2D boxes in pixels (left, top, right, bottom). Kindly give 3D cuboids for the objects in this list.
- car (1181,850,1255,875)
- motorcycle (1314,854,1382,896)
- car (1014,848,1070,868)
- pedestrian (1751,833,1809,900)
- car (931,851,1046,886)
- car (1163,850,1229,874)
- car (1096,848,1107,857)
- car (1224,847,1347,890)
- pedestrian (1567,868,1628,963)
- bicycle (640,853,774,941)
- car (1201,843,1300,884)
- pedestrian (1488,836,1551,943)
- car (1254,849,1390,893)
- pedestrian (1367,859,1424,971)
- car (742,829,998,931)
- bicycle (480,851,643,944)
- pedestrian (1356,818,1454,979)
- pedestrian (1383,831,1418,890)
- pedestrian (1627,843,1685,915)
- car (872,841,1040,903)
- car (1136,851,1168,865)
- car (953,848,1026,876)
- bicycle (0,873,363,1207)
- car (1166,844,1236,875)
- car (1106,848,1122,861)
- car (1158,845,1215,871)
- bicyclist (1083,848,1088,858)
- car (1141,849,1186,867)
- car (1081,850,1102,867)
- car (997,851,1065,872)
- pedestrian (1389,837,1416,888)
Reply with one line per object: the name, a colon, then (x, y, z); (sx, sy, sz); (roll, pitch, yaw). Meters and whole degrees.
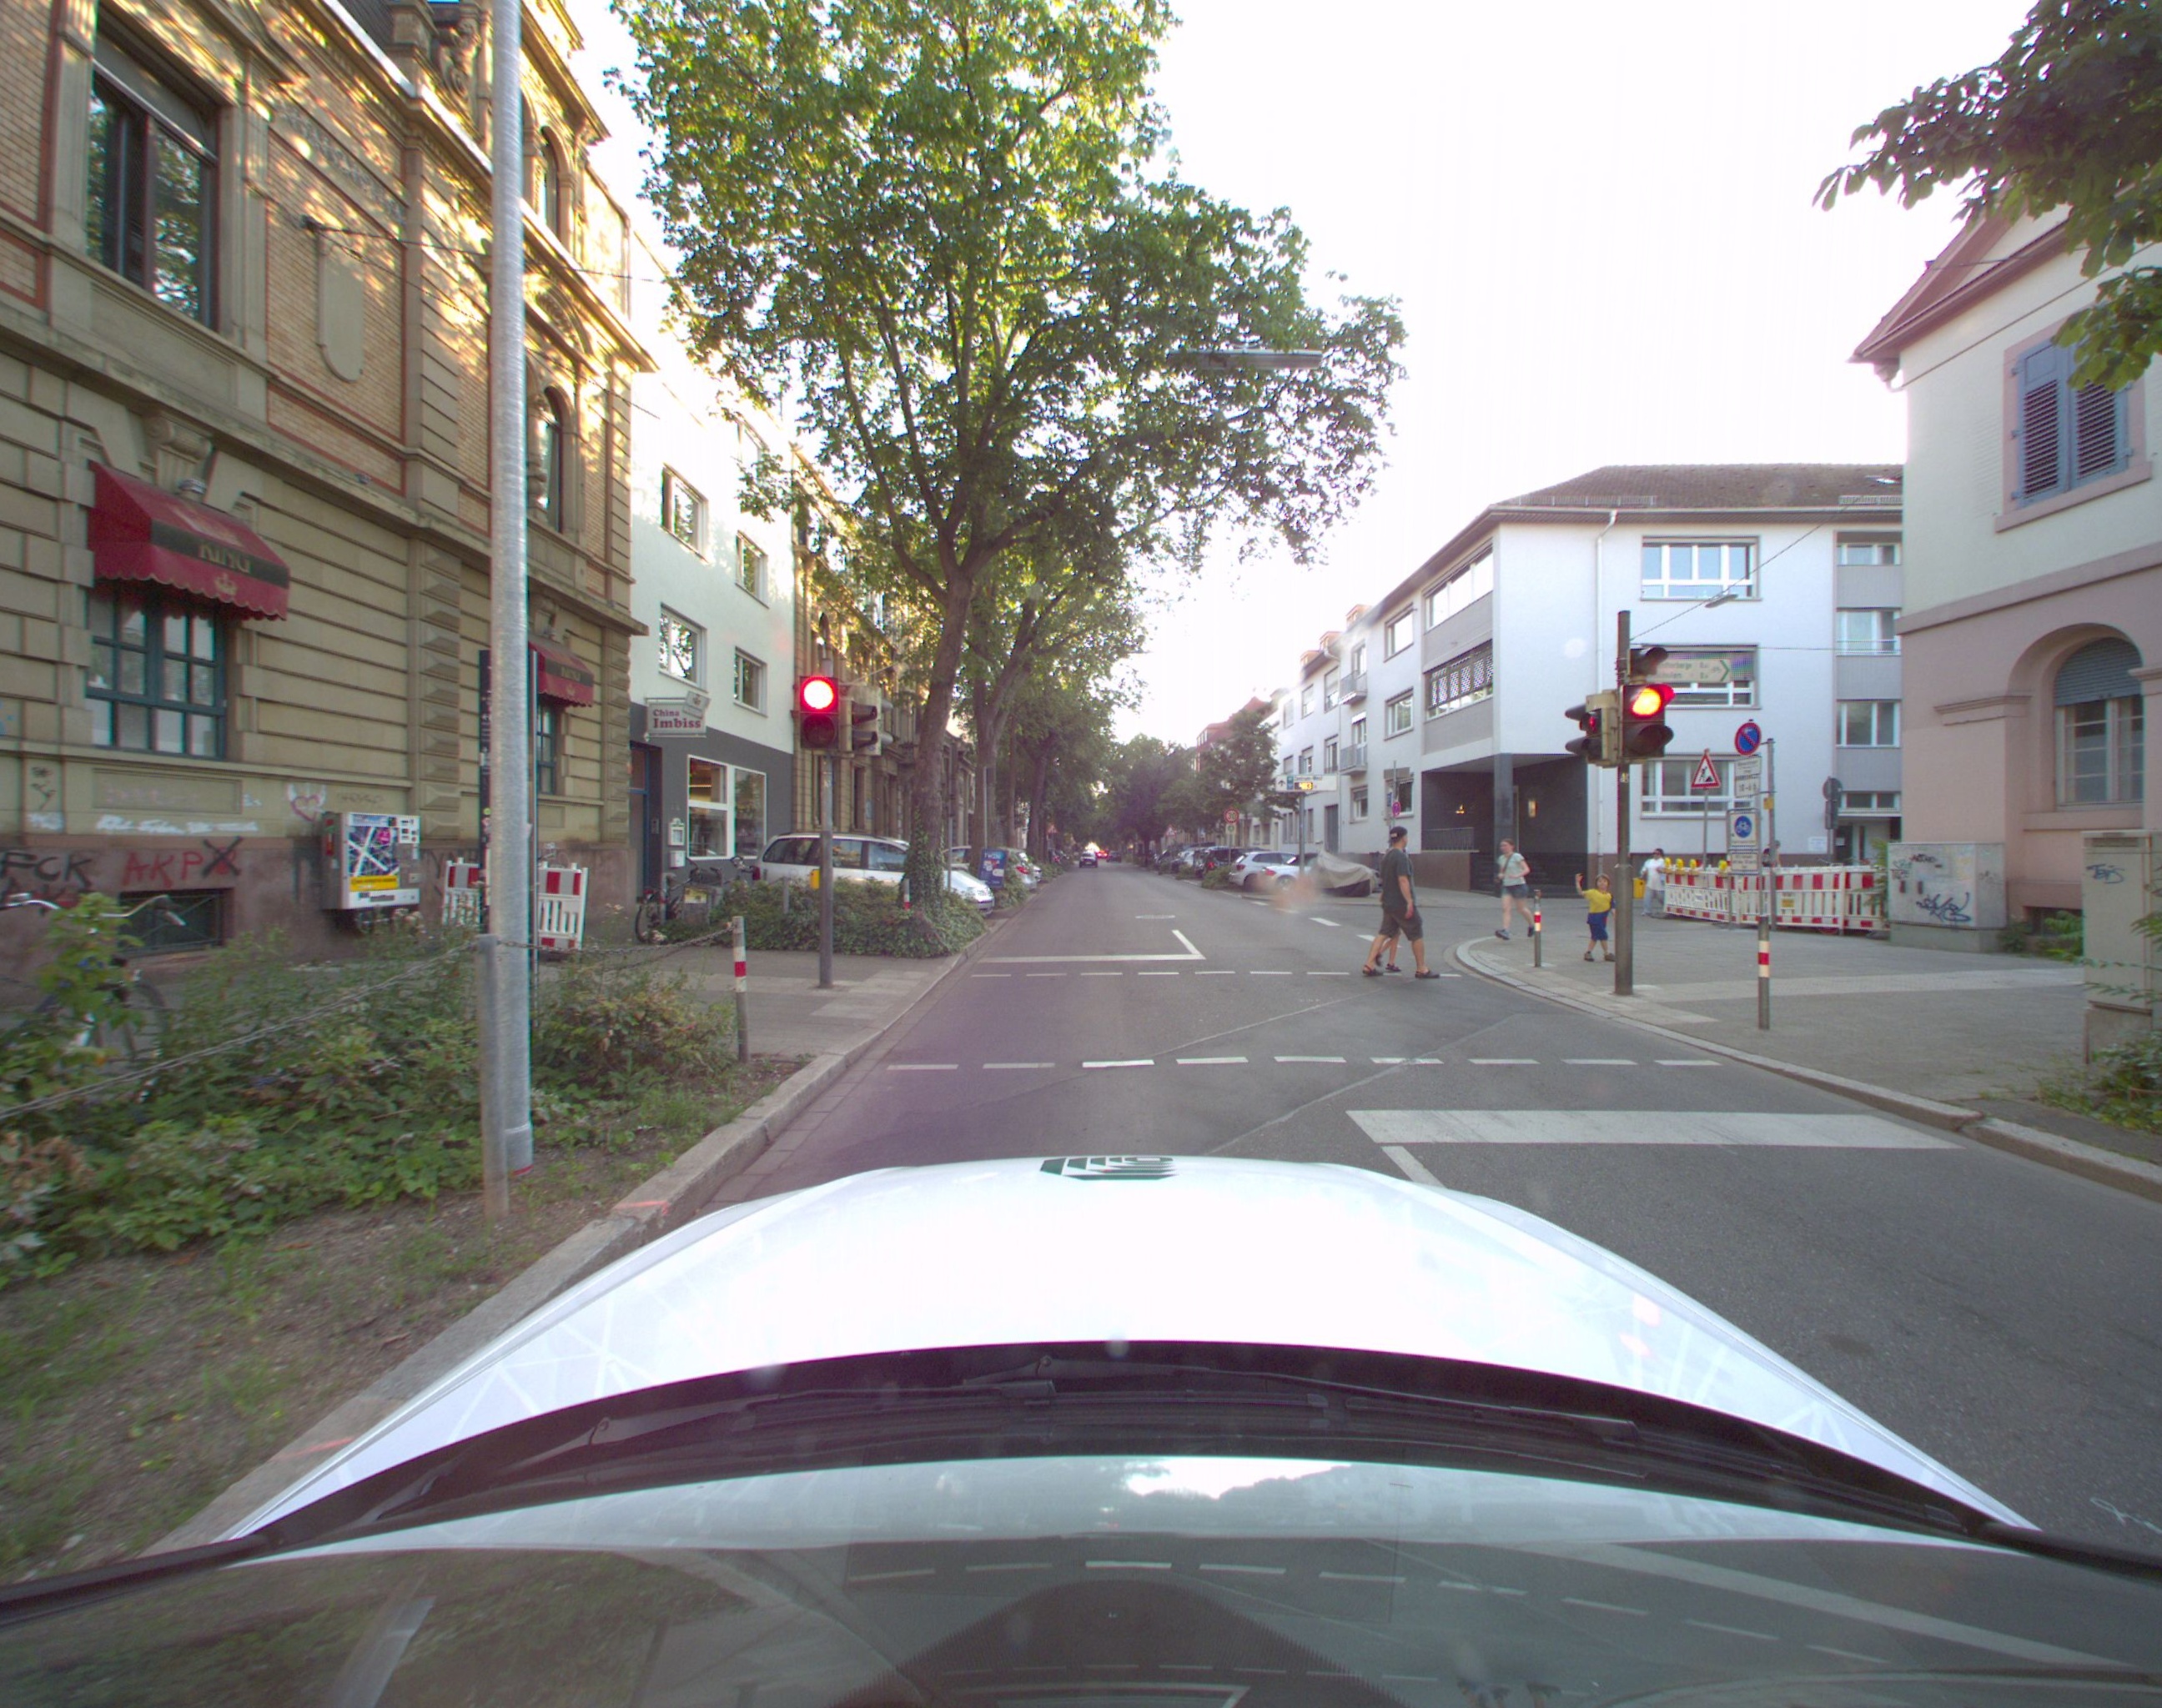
car: (7.860, 0.483, 47.026); (4.001, 1.409, 1.707); (-1, 0, 0)
motorcycle: (7.700, 0.606, 23.522); (1.789, 1.199, 0.614); (-1, 0, 9)
car: (-3.259, 0.337, 68.684); (4.531, 1.691, 1.833); (0, 0, 1)
pedestrian: (18.794, 0.331, 21.904); (0.766, 1.752, 0.934); (0, 0, 1)
car: (-3.770, 0.568, 33.819); (4.531, 1.372, 1.833); (-1, 0, 1)
car: (7.345, 0.494, 52.189); (4.001, 1.530, 1.707); (0, 0, 0)
car: (3.922, -0.213, 154.909); (1.918, 1.660, 4.000); (0, 0, 1)
car: (7.311, 0.495, 29.348); (4.001, 1.442, 1.707); (-1, 0, 0)
pedestrian: (6.572, 0.758, 10.389); (0.560, 1.121, 0.842); (0, 0, 26)
bicycle: (-5.638, 0.594, 12.508); (0.731, 1.186, 2.635); (1, 0, 2)
car: (7.396, 0.408, 35.788); (4.001, 1.690, 1.707); (-1, 0, 0)
pedestrian: (6.754, 0.512, 12.534); (0.692, 1.557, 0.986); (1, 0, 37)
car: (7.827, 0.532, 26.704); (4.000, 1.342, 1.707); (-1, 0, 1)
pedestrian: (3.885, 0.734, 10.079); (0.537, 1.335, 0.507); (0, 0, 5)
car: (-3.969, 0.477, 15.977); (4.536, 1.835, 1.831); (-1, 0, -3)
bicycle: (-7.481, 0.562, 11.926); (0.634, 1.201, 2.565); (-1, 0, 2)
pedestrian: (3.814, 0.500, 9.652); (0.884, 1.815, 0.795); (0, 0, 5)
pedestrian: (10.181, 0.208, 26.008); (0.764, 1.841, 0.944); (0, 0, 1)
pedestrian: (12.516, 0.533, 17.722); (0.805, 1.501, 0.768); (-1, -1, -35)
car: (-3.524, 0.488, 23.527); (4.531, 1.689, 1.833); (-1, 0, 1)
car: (9.323, 0.478, 107.158); (4.001, 1.830, 1.707); (0, 0, 0)
car: (-5.371, 0.464, 48.104); (4.024, 1.590, 1.833); (-1, 0, 1)
bicycle: (-4.166, 0.696, 3.353); (0.509, 1.153, 2.101); (2, 1, 1)
car: (7.248, 0.337, 49.332); (4.001, 1.815, 1.707); (-1, 0, 0)
car: (4.121, 0.014, 102.084); (1.819, 1.561, 4.027); (1, 0, 0)
car: (7.662, 0.295, 59.471); (4.001, 1.830, 1.707); (0, 0, 0)
bicyclist: (0.663, -0.122, 117.964); (0.570, 1.470, 0.642); (0, -1, -5)
car: (7.522, 0.361, 74.466); (4.001, 1.602, 1.707); (0, 0, 0)
car: (1.001, 0.432, 76.766); (1.897, 1.577, 3.991); (1, 0, 1)
car: (-3.430, 0.489, 56.335); (4.531, 1.410, 1.833); (-1, 0, 1)
pedestrian: (11.156, 0.273, 28.273); (0.700, 1.752, 0.700); (0, 0, 5)
